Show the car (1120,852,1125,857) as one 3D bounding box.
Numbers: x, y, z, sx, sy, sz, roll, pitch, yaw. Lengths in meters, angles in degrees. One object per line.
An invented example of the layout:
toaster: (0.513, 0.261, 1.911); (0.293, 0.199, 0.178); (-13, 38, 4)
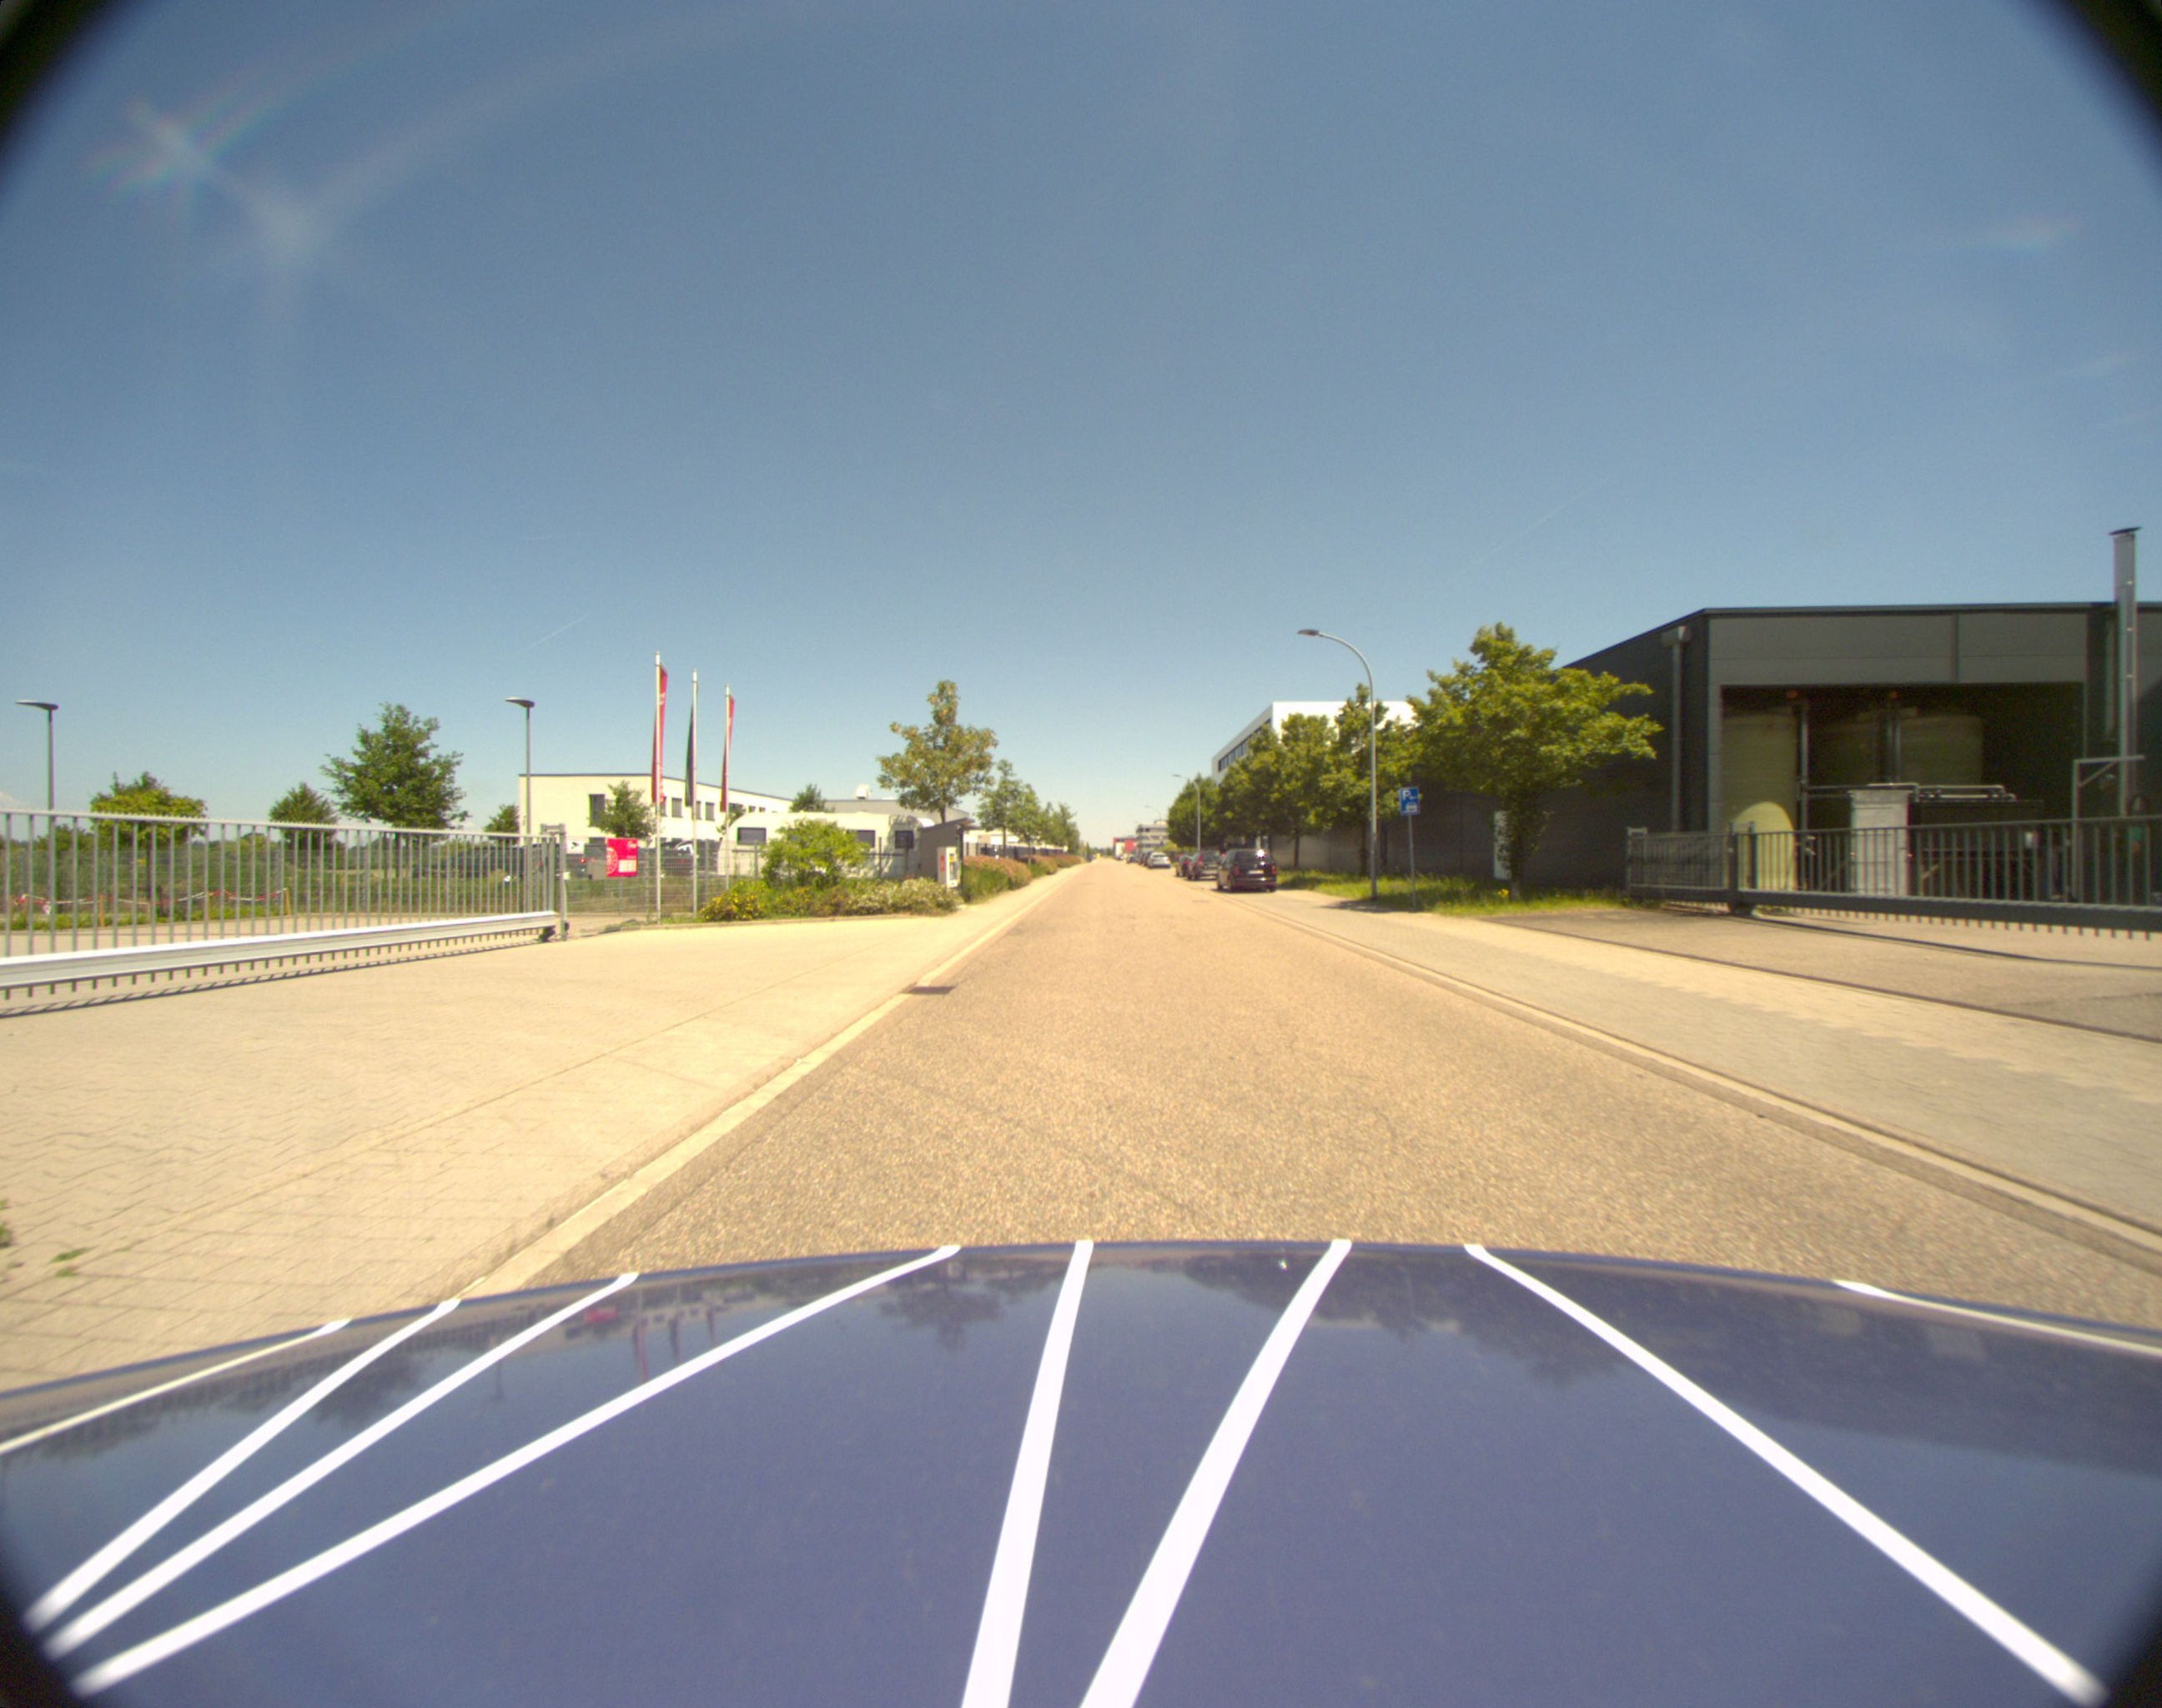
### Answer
car: (13.446, 0.196, 245.744); (1.694, 1.481, 3.661); (-3, 0, 2)

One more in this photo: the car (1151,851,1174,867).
car: (7.539, 0.465, 70.455); (1.775, 1.422, 3.940); (-2, 1, 2)

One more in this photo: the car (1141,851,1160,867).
car: (7.484, 0.545, 82.695); (1.775, 1.614, 4.582); (0, 1, 2)

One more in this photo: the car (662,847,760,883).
car: (-18.839, 0.527, 38.839); (4.051, 1.753, 1.918); (0, 1, 1)

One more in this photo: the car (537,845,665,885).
car: (-19.302, 0.429, 30.672); (4.051, 1.540, 1.748); (0, 1, 1)

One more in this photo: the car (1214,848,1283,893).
car: (6.392, 0.572, 29.481); (1.775, 1.602, 4.247); (-1, 0, 1)

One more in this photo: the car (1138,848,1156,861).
car: (8.239, 0.077, 95.413); (1.775, 1.578, 4.481); (-1, 0, 0)

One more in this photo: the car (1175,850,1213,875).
car: (7.068, 0.500, 47.825); (1.775, 1.422, 4.201); (-1, 0, 1)

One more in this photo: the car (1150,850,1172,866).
car: (7.935, 0.413, 75.565); (1.775, 1.422, 4.201); (-4, 0, 2)

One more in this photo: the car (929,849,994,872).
car: (-7.940, 0.408, 50.829); (3.997, 1.513, 1.822); (0, 1, 1)

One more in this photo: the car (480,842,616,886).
car: (-19.446, 0.355, 27.829); (3.830, 1.534, 1.678); (0, 1, 1)

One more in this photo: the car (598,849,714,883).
car: (-18.438, 0.514, 33.074); (4.051, 1.423, 1.748); (0, 1, 1)

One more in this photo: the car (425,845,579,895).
car: (-19.275, 0.506, 25.423); (3.830, 1.567, 1.750); (0, 1, 1)

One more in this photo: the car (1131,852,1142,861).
car: (9.917, 0.390, 135.102); (1.678, 1.442, 4.069); (2, 1, 2)

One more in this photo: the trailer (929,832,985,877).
trailer: (-6.817, 0.046, 41.862); (2.830, 2.389, 1.419); (1, 1, -2)

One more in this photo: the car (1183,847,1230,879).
car: (6.804, 0.464, 41.534); (1.775, 1.602, 4.852); (-1, 0, 1)

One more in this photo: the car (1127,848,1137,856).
car: (10.083, -0.481, 150.672); (1.678, 1.521, 3.909); (-1, 1, 2)

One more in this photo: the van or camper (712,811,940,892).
van or camper: (-8.419, -0.087, 25.636); (6.773, 2.570, 2.635); (0, 1, 1)

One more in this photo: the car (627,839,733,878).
car: (-19.034, 0.210, 36.195); (4.051, 1.796, 1.918); (0, 1, 1)
